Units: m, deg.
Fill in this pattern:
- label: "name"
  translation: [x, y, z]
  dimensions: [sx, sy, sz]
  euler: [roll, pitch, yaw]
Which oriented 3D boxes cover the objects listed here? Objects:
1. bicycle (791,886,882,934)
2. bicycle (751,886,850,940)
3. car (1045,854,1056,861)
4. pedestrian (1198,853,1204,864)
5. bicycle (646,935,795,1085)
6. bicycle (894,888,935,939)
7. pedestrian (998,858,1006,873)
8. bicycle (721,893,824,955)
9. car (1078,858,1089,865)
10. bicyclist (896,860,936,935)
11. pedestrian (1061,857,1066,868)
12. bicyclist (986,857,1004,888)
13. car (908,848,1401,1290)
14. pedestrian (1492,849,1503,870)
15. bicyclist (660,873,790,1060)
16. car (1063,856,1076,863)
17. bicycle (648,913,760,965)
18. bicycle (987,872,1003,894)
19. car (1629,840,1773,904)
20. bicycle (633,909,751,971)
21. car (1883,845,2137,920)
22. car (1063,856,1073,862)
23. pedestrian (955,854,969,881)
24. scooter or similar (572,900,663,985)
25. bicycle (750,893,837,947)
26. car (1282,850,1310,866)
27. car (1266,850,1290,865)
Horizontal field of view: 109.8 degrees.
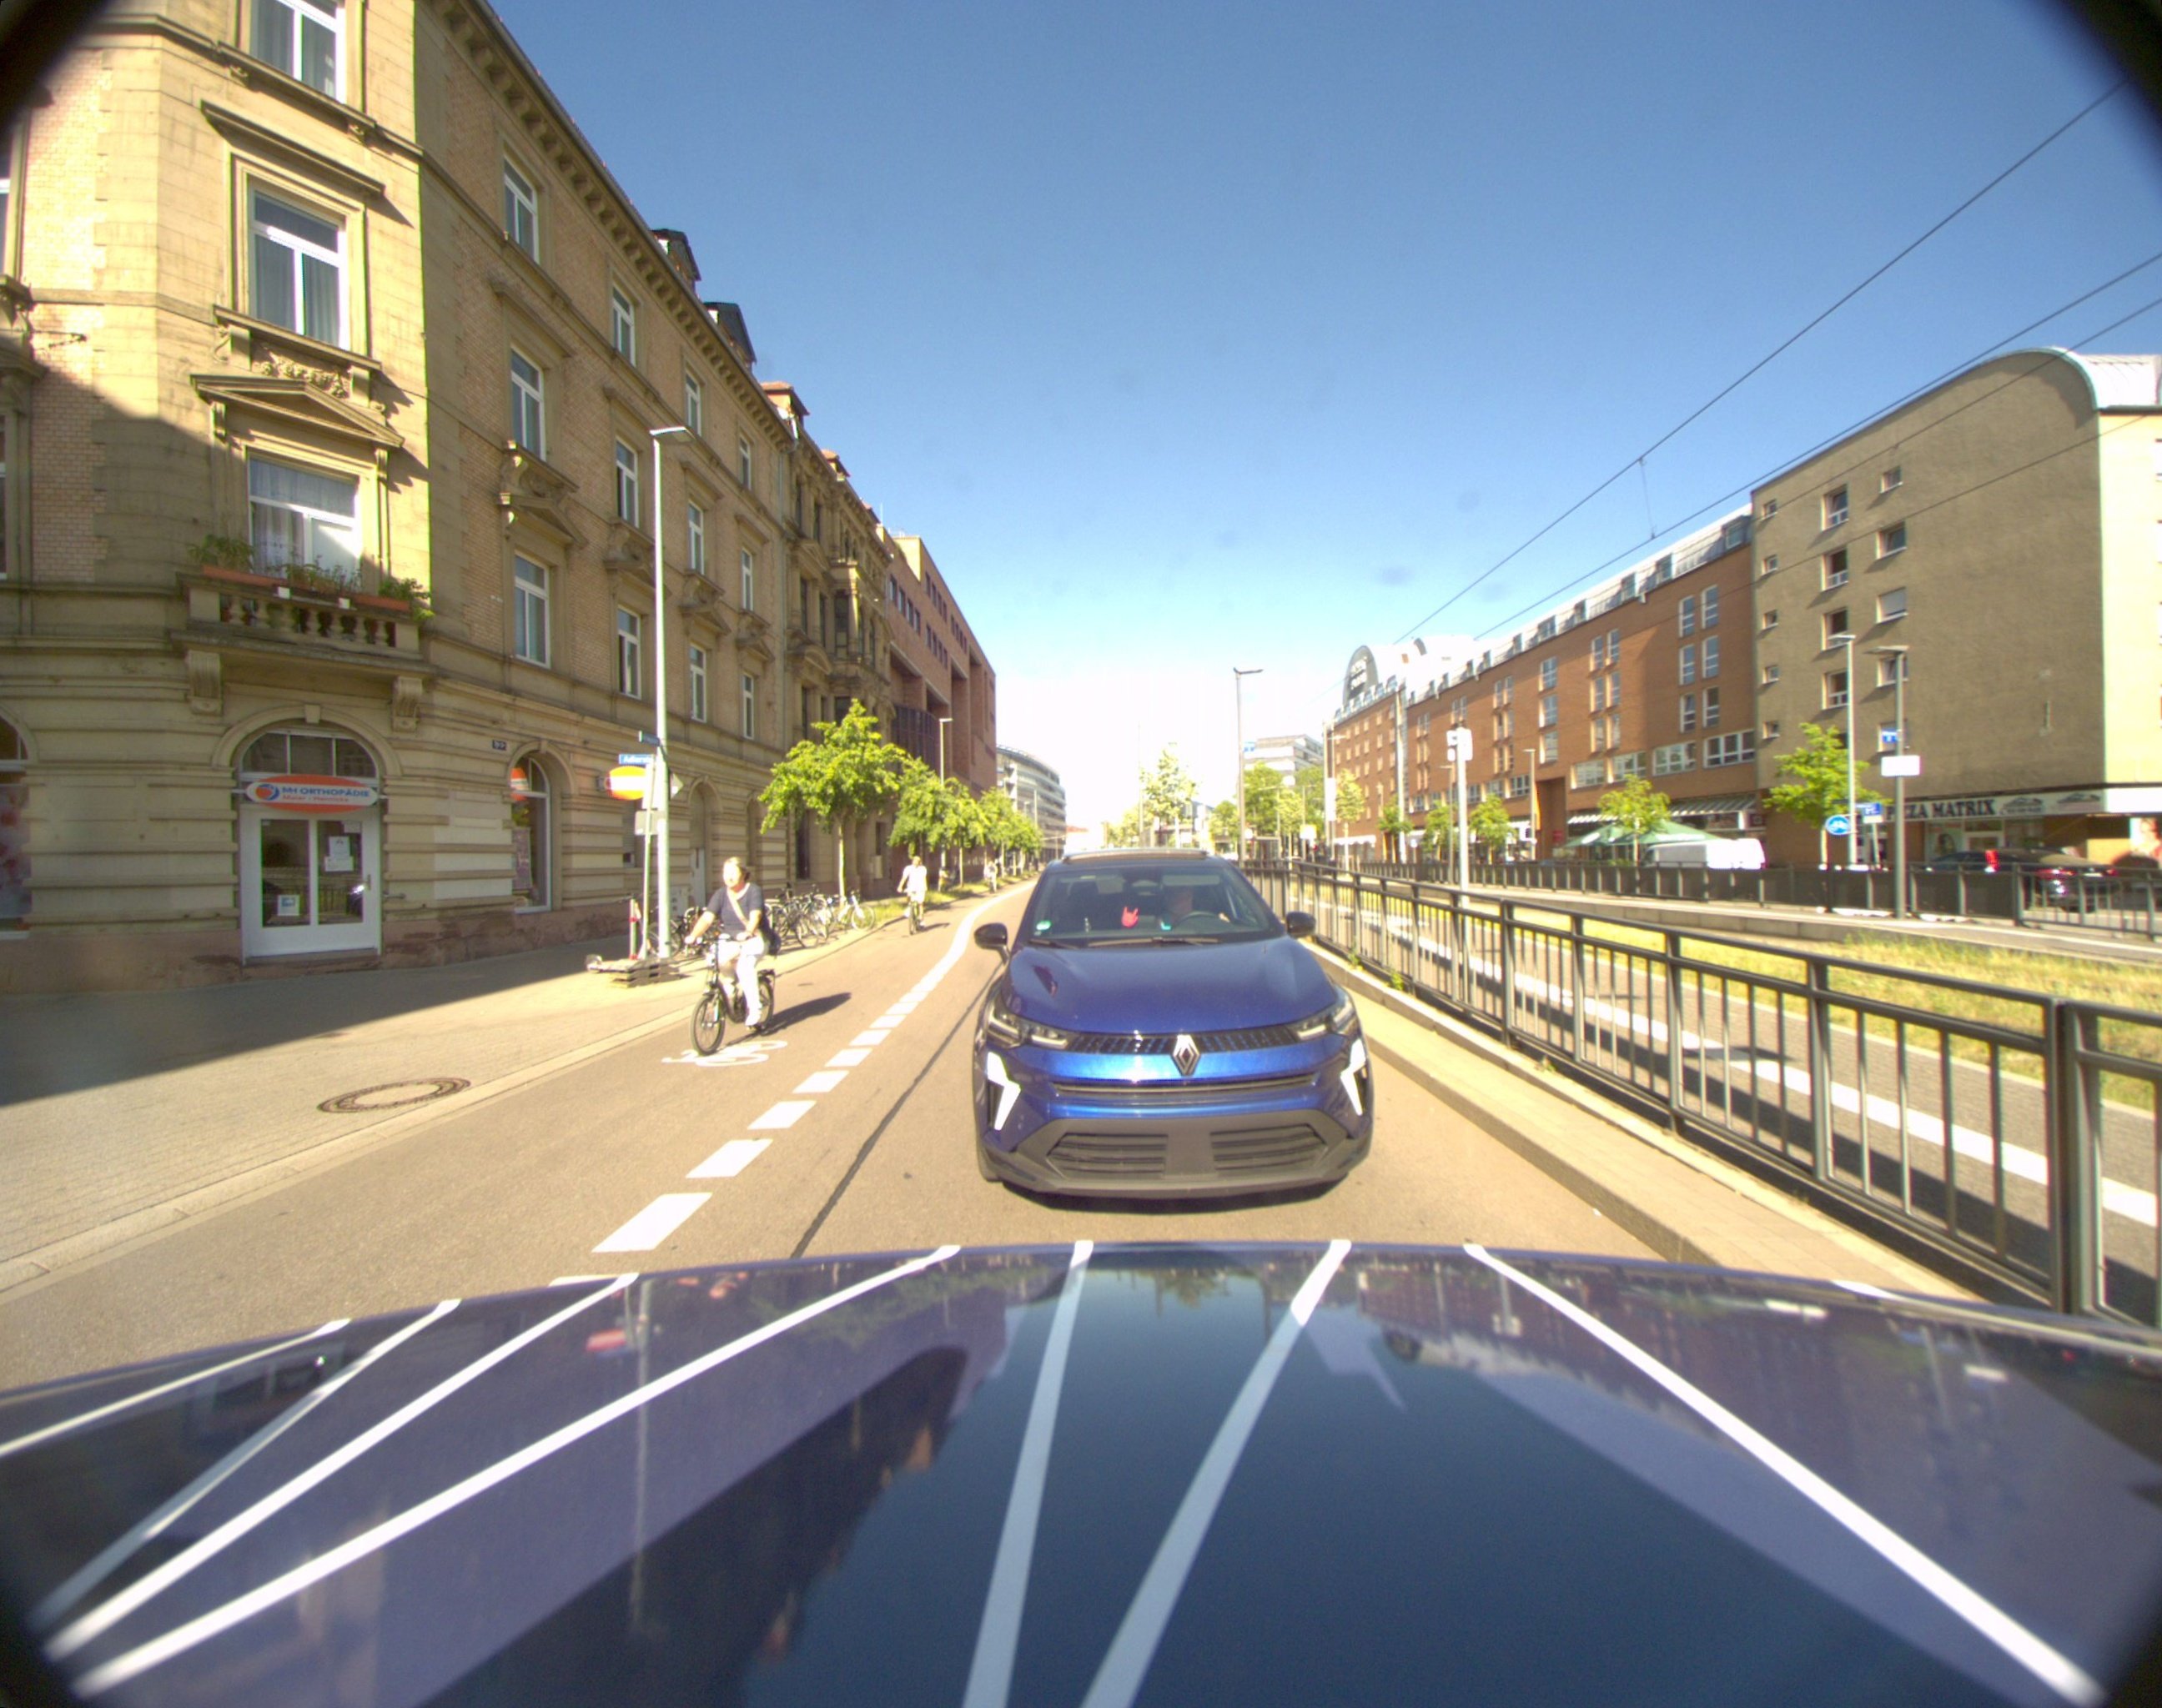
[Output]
- label: "bicycle"
  translation: [-6.019, 1.379, 18.814]
  dimensions: [2.001, 1.086, 0.846]
  euler: [1, 0, -9]
- label: "bicycle"
  translation: [-6.447, 1.349, 17.518]
  dimensions: [1.999, 1.121, 0.710]
  euler: [1, 0, 2]
- label: "car"
  translation: [-6.958, 0.755, 174.228]
  dimensions: [1.882, 1.455, 4.001]
  euler: [-2, 1, 7]
- label: "pedestrian"
  translation: [16.799, 0.607, 106.582]
  dimensions: [0.608, 1.560, 0.728]
  euler: [-1, 0, 21]
- label: "bicycle"
  translation: [-3.171, 1.328, 6.836]
  dimensions: [0.558, 1.021, 1.507]
  euler: [-3, 0, 0]
- label: "bicycle"
  translation: [-3.991, 1.401, 18.301]
  dimensions: [0.578, 1.090, 1.507]
  euler: [-3, 0, 0]
- label: "pedestrian"
  translation: [-7.945, 1.140, 76.319]
  dimensions: [0.633, 1.478, 0.736]
  euler: [-1, 1, 0]
- label: "bicycle"
  translation: [-5.923, 1.338, 14.644]
  dimensions: [1.727, 1.094, 0.607]
  euler: [1, 0, 4]
- label: "car"
  translation: [0.649, 1.680, 172.605]
  dimensions: [1.882, 1.455, 4.002]
  euler: [-2, 1, 8]
- label: "bicyclist"
  translation: [-3.951, 1.015, 18.237]
  dimensions: [0.684, 1.718, 0.909]
  euler: [-3, 0, 0]
- label: "pedestrian"
  translation: [-2.457, 1.155, 106.403]
  dimensions: [0.774, 1.478, 0.686]
  euler: [-1, 0, 1]
- label: "bicyclist"
  translation: [-4.641, 0.979, 40.819]
  dimensions: [0.755, 1.607, 0.762]
  euler: [-3, 0, 4]
- label: "car"
  translation: [0.307, 0.804, 4.877]
  dimensions: [1.802, 1.596, 3.999]
  euler: [-2, 1, 1]
- label: "pedestrian"
  translation: [35.492, 0.480, 64.771]
  dimensions: [0.622, 1.830, 0.644]
  euler: [-1, 1, -1]
- label: "bicyclist"
  translation: [-3.181, 0.960, 6.869]
  dimensions: [0.659, 1.528, 0.909]
  euler: [-3, 0, 0]
- label: "car"
  translation: [-2.628, 1.279, 173.653]
  dimensions: [2.120, 1.547, 4.003]
  euler: [-1, 0, 9]
- label: "bicycle"
  translation: [-6.522, 1.463, 13.175]
  dimensions: [1.673, 0.816, 0.607]
  euler: [0, 0, 7]
- label: "bicycle"
  translation: [-4.626, 1.538, 40.828]
  dimensions: [0.578, 1.090, 1.507]
  euler: [-3, 0, 3]
- label: "car"
  translation: [25.350, 0.672, 31.419]
  dimensions: [1.997, 2.356, 5.649]
  euler: [-1, 0, 8]
- label: "bicycle"
  translation: [-6.394, 1.398, 12.506]
  dimensions: [1.673, 0.938, 0.607]
  euler: [0, 0, 8]
- label: "car"
  translation: [24.225, 0.676, 20.076]
  dimensions: [1.819, 1.749, 4.000]
  euler: [-1, 0, 0]
- label: "car"
  translation: [-3.177, 1.278, 189.628]
  dimensions: [1.882, 1.455, 4.001]
  euler: [-2, 1, 7]
- label: "pedestrian"
  translation: [-8.360, 0.945, 53.262]
  dimensions: [0.790, 1.872, 1.106]
  euler: [-1, 1, 0]
- label: "scooter or similar"
  translation: [-6.765, 1.275, 11.101]
  dimensions: [1.113, 1.183, 0.419]
  euler: [0, 0, 8]
- label: "bicycle"
  translation: [-6.126, 1.396, 16.202]
  dimensions: [1.603, 1.039, 0.607]
  euler: [1, 0, 4]
- label: "car"
  translation: [24.102, 0.437, 85.240]
  dimensions: [1.998, 1.674, 3.999]
  euler: [-2, 1, 1]
- label: "car"
  translation: [24.541, 0.438, 94.900]
  dimensions: [1.998, 1.674, 3.999]
  euler: [-2, 1, 1]
